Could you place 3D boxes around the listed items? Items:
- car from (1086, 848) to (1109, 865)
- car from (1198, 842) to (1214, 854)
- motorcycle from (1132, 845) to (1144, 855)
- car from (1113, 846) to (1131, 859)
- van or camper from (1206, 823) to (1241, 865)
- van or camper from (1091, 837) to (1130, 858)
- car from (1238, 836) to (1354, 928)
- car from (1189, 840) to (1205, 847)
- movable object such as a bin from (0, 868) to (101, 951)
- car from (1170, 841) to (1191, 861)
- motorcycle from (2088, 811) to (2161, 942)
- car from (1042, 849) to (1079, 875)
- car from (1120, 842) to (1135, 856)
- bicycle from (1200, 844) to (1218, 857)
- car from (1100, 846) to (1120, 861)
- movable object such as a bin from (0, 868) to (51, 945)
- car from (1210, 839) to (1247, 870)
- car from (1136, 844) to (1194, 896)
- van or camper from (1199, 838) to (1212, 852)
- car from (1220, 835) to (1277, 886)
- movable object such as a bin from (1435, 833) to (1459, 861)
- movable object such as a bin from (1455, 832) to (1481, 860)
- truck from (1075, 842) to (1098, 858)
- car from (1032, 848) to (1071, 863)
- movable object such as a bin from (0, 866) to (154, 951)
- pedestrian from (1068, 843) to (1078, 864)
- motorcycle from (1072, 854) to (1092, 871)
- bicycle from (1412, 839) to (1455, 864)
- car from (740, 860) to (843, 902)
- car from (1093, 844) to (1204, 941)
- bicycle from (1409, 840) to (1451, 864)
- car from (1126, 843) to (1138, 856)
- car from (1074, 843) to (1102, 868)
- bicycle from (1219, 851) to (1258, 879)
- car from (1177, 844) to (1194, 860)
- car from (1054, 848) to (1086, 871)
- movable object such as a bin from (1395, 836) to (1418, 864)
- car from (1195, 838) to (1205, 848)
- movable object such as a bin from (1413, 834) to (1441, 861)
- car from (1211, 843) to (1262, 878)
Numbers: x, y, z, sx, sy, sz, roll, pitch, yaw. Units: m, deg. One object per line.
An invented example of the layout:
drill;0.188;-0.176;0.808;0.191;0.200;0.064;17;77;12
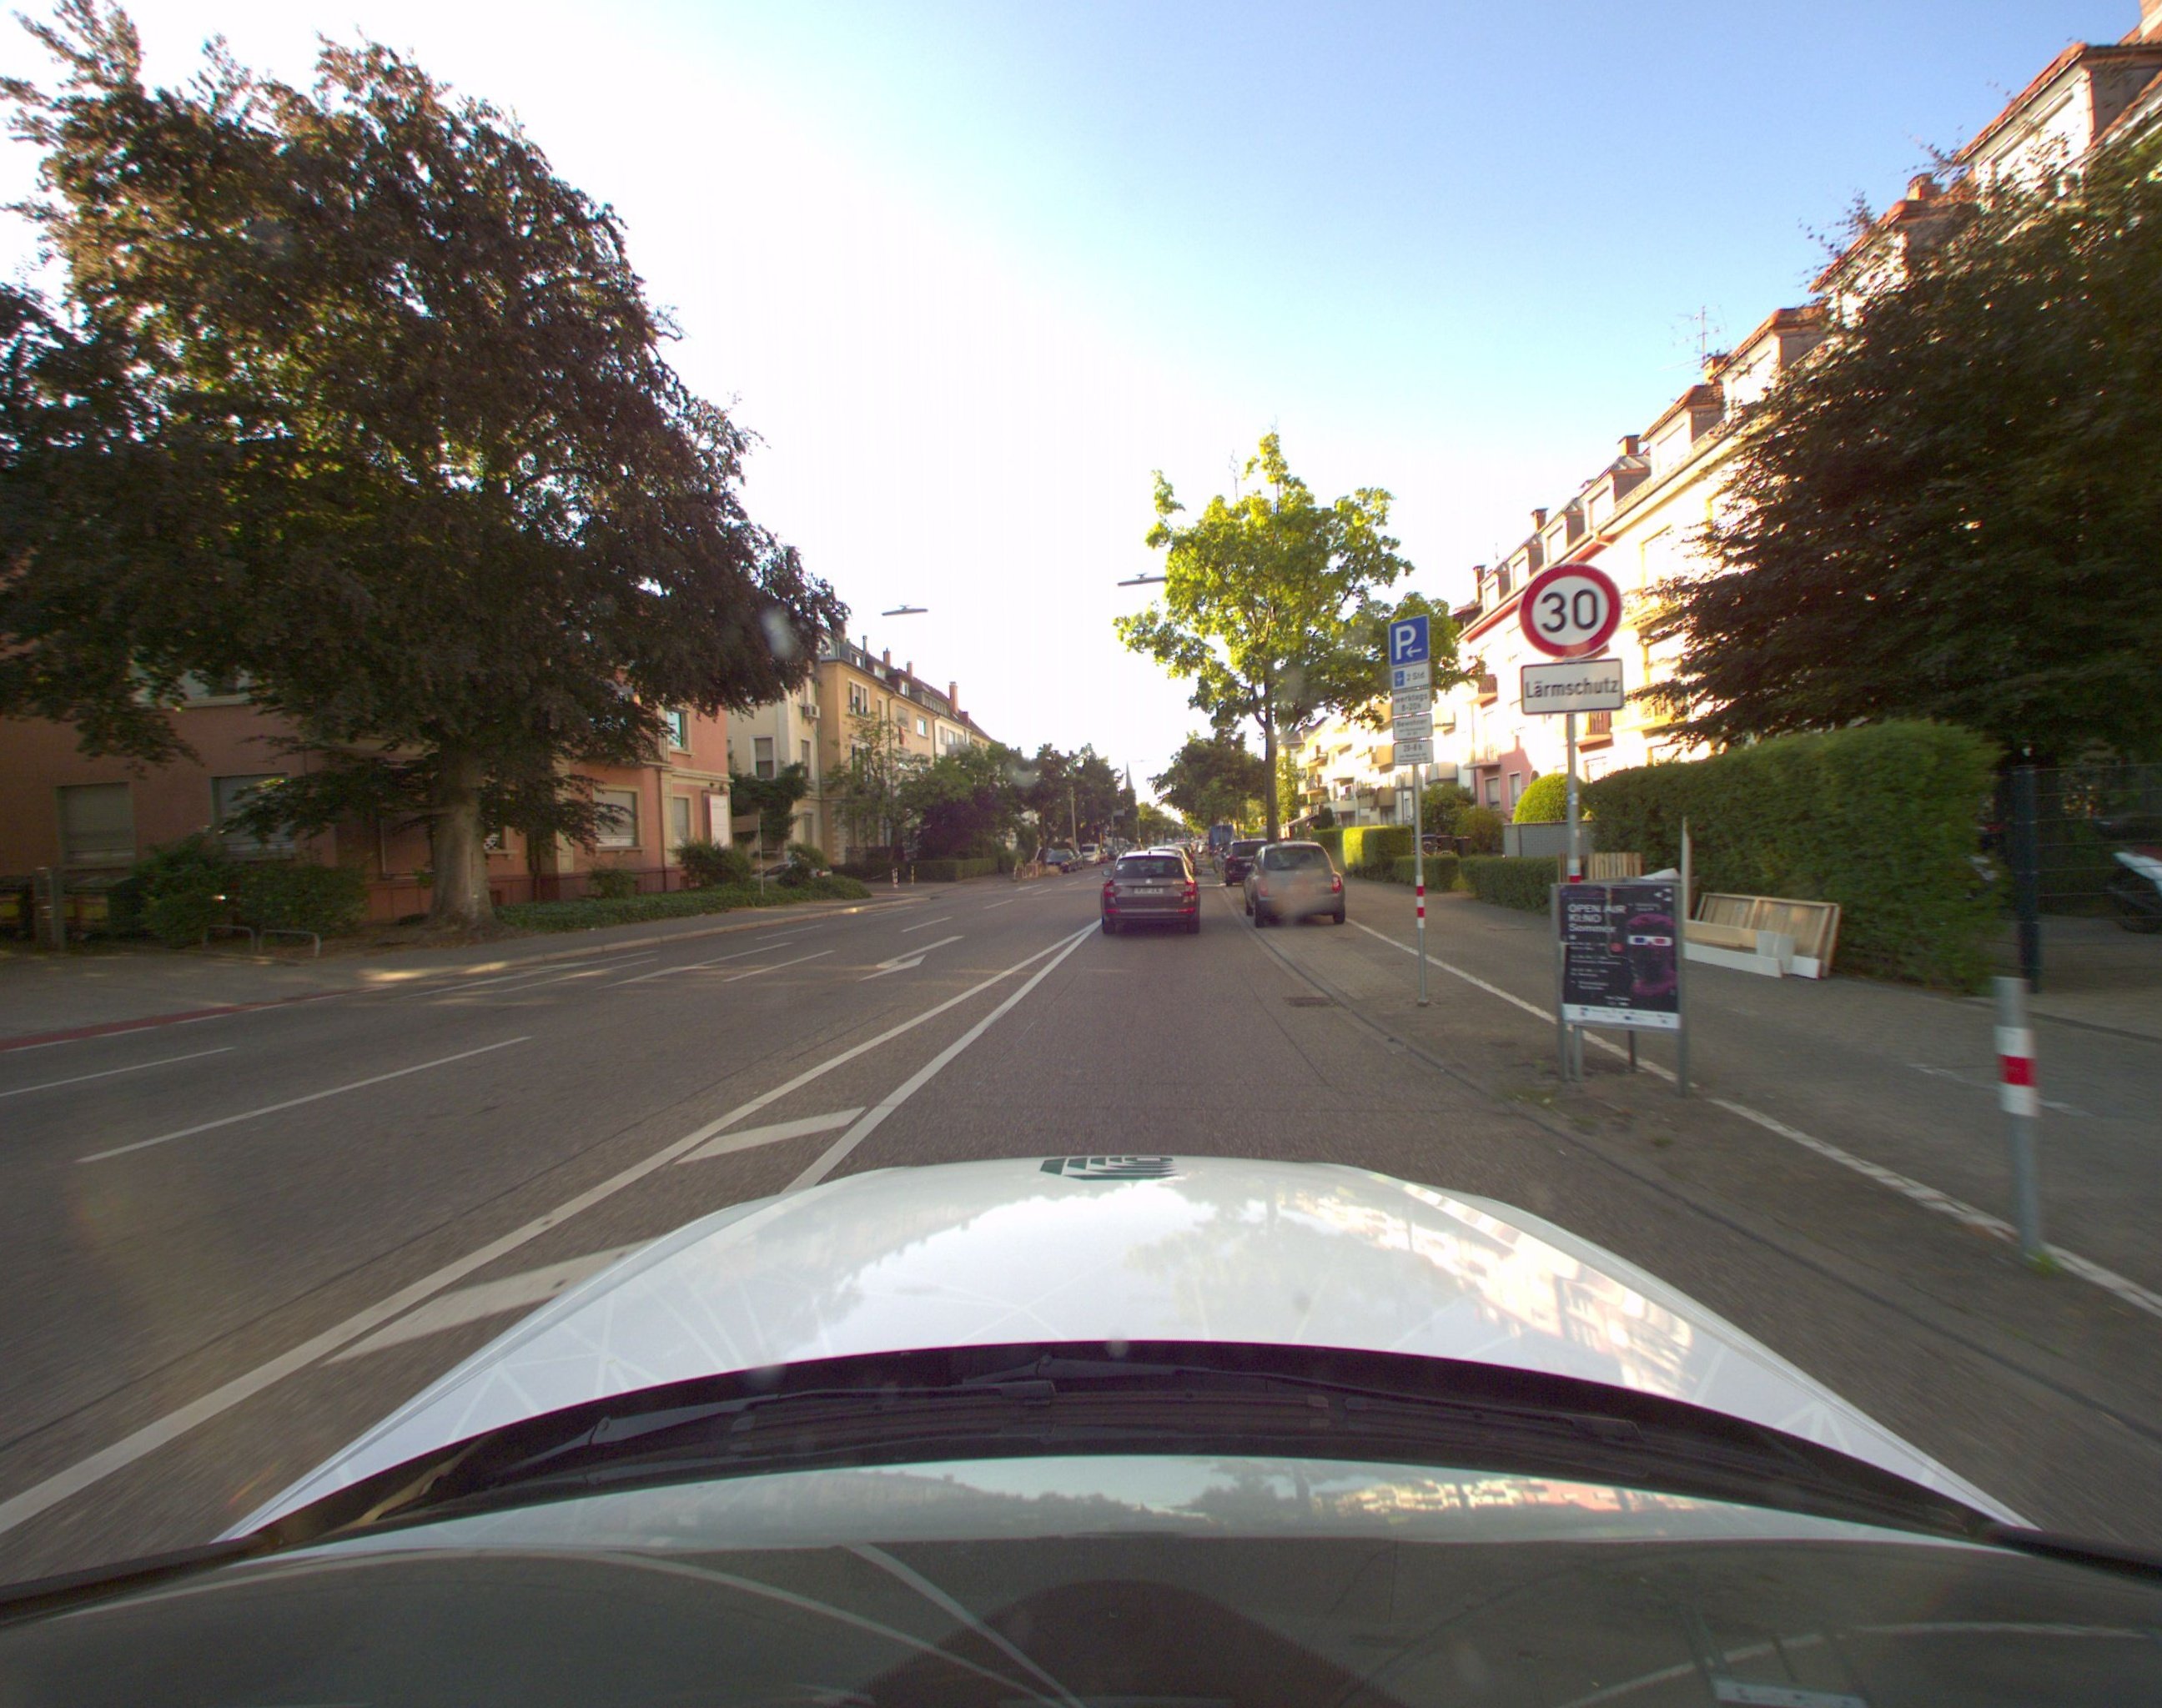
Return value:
car;1.610;0.208;76.737;1.707;1.421;3.795;-2;1;8
car;15.650;-0.749;101.923;1.810;1.413;4.123;-2;1;10
motorcycle;8.998;-0.649;128.061;0.770;1.511;2.008;-3;1;-35
car;5.051;-0.166;100.064;1.744;1.420;4.436;-2;1;8
van or camper;9.830;-0.653;56.642;2.056;2.675;6.003;-2;0;8
van or camper;6.007;-1.398;164.956;7.602;3.874;2.003;-2;1;5
car;4.135;0.460;16.161;1.723;1.551;3.654;-2;1;8
car;28.810;-2.633;202.714;1.859;1.757;4.204;-2;1;43
movable object such as a bin;-22.882;1.197;17.667;1.493;1.651;1.461;-2;1;11
car;8.810;-0.289;71.649;1.723;1.651;3.549;-2;1;8
motorcycle;10.615;0.223;7.477;0.491;1.257;1.947;-2;1;7
car;-1.336;0.504;54.274;1.740;1.502;4.206;-2;1;8
car;6.510;-0.700;113.192;1.740;1.740;3.599;-2;1;8
bicycle;13.570;-0.378;86.373;1.656;1.226;0.639;-5;0;20
car;3.147;-0.064;88.719;1.707;1.497;4.257;-2;1;8
movable object such as a bin;-24.470;1.203;18.026;1.493;1.651;1.461;-2;1;11
car;8.355;0.026;46.377;1.764;1.642;3.764;-2;0;6
car;2.710;0.468;26.900;1.722;1.493;3.955;-2;1;4
van or camper;19.202;-1.391;125.716;1.982;2.013;4.009;-2;1;8
car;6.057;0.182;29.831;1.723;1.651;4.301;-2;1;8
movable object such as a bin;13.758;-0.281;30.626;0.608;1.002;0.798;-2;1;7
movable object such as a bin;14.514;-0.314;30.554;0.608;1.002;0.798;-2;1;7
truck;0.805;-0.620;115.367;2.898;2.093;1.549;-2;1;7
car;-3.113;0.166;86.491;3.969;1.479;2.002;-2;1;4
movable object such as a bin;-21.345;1.133;17.361;1.493;1.651;1.461;-2;1;11
pedestrian;-0.801;-0.047;79.853;0.763;2.013;0.978;-2;1;7
motorcycle;0.073;0.632;62.680;0.436;1.192;1.717;-2;1;45
bicycle;12.758;-0.104;29.514;1.362;0.853;0.369;-2;1;8
car;-11.858;1.101;33.499;3.482;1.486;1.818;-3;1;3
car;1.404;0.621;15.373;1.719;1.493;3.961;-2;1;9
bicycle;12.831;-0.075;29.966;1.352;0.853;0.366;-2;1;7
car;7.413;-0.623;117.794;1.498;1.757;3.702;-2;1;7
car;0.665;0.090;69.552;1.760;1.919;4.470;-2;1;8
bicycle;6.574;0.452;34.015;1.475;1.059;0.411;-3;1;-6
car;11.500;-0.240;89.733;1.723;1.651;3.549;-2;1;8
car;-0.753;0.393;59.195;1.740;1.502;3.987;-2;1;8
movable object such as a bin;12.263;-0.164;30.682;0.579;1.002;0.798;-2;1;7
car;23.508;-2.144;161.320;1.721;1.815;3.958;-2;1;6
movable object such as a bin;13.040;-0.250;30.705;0.772;1.002;0.798;-2;1;7
car;7.589;0.270;40.183;1.911;1.486;4.752;-2;1;4
